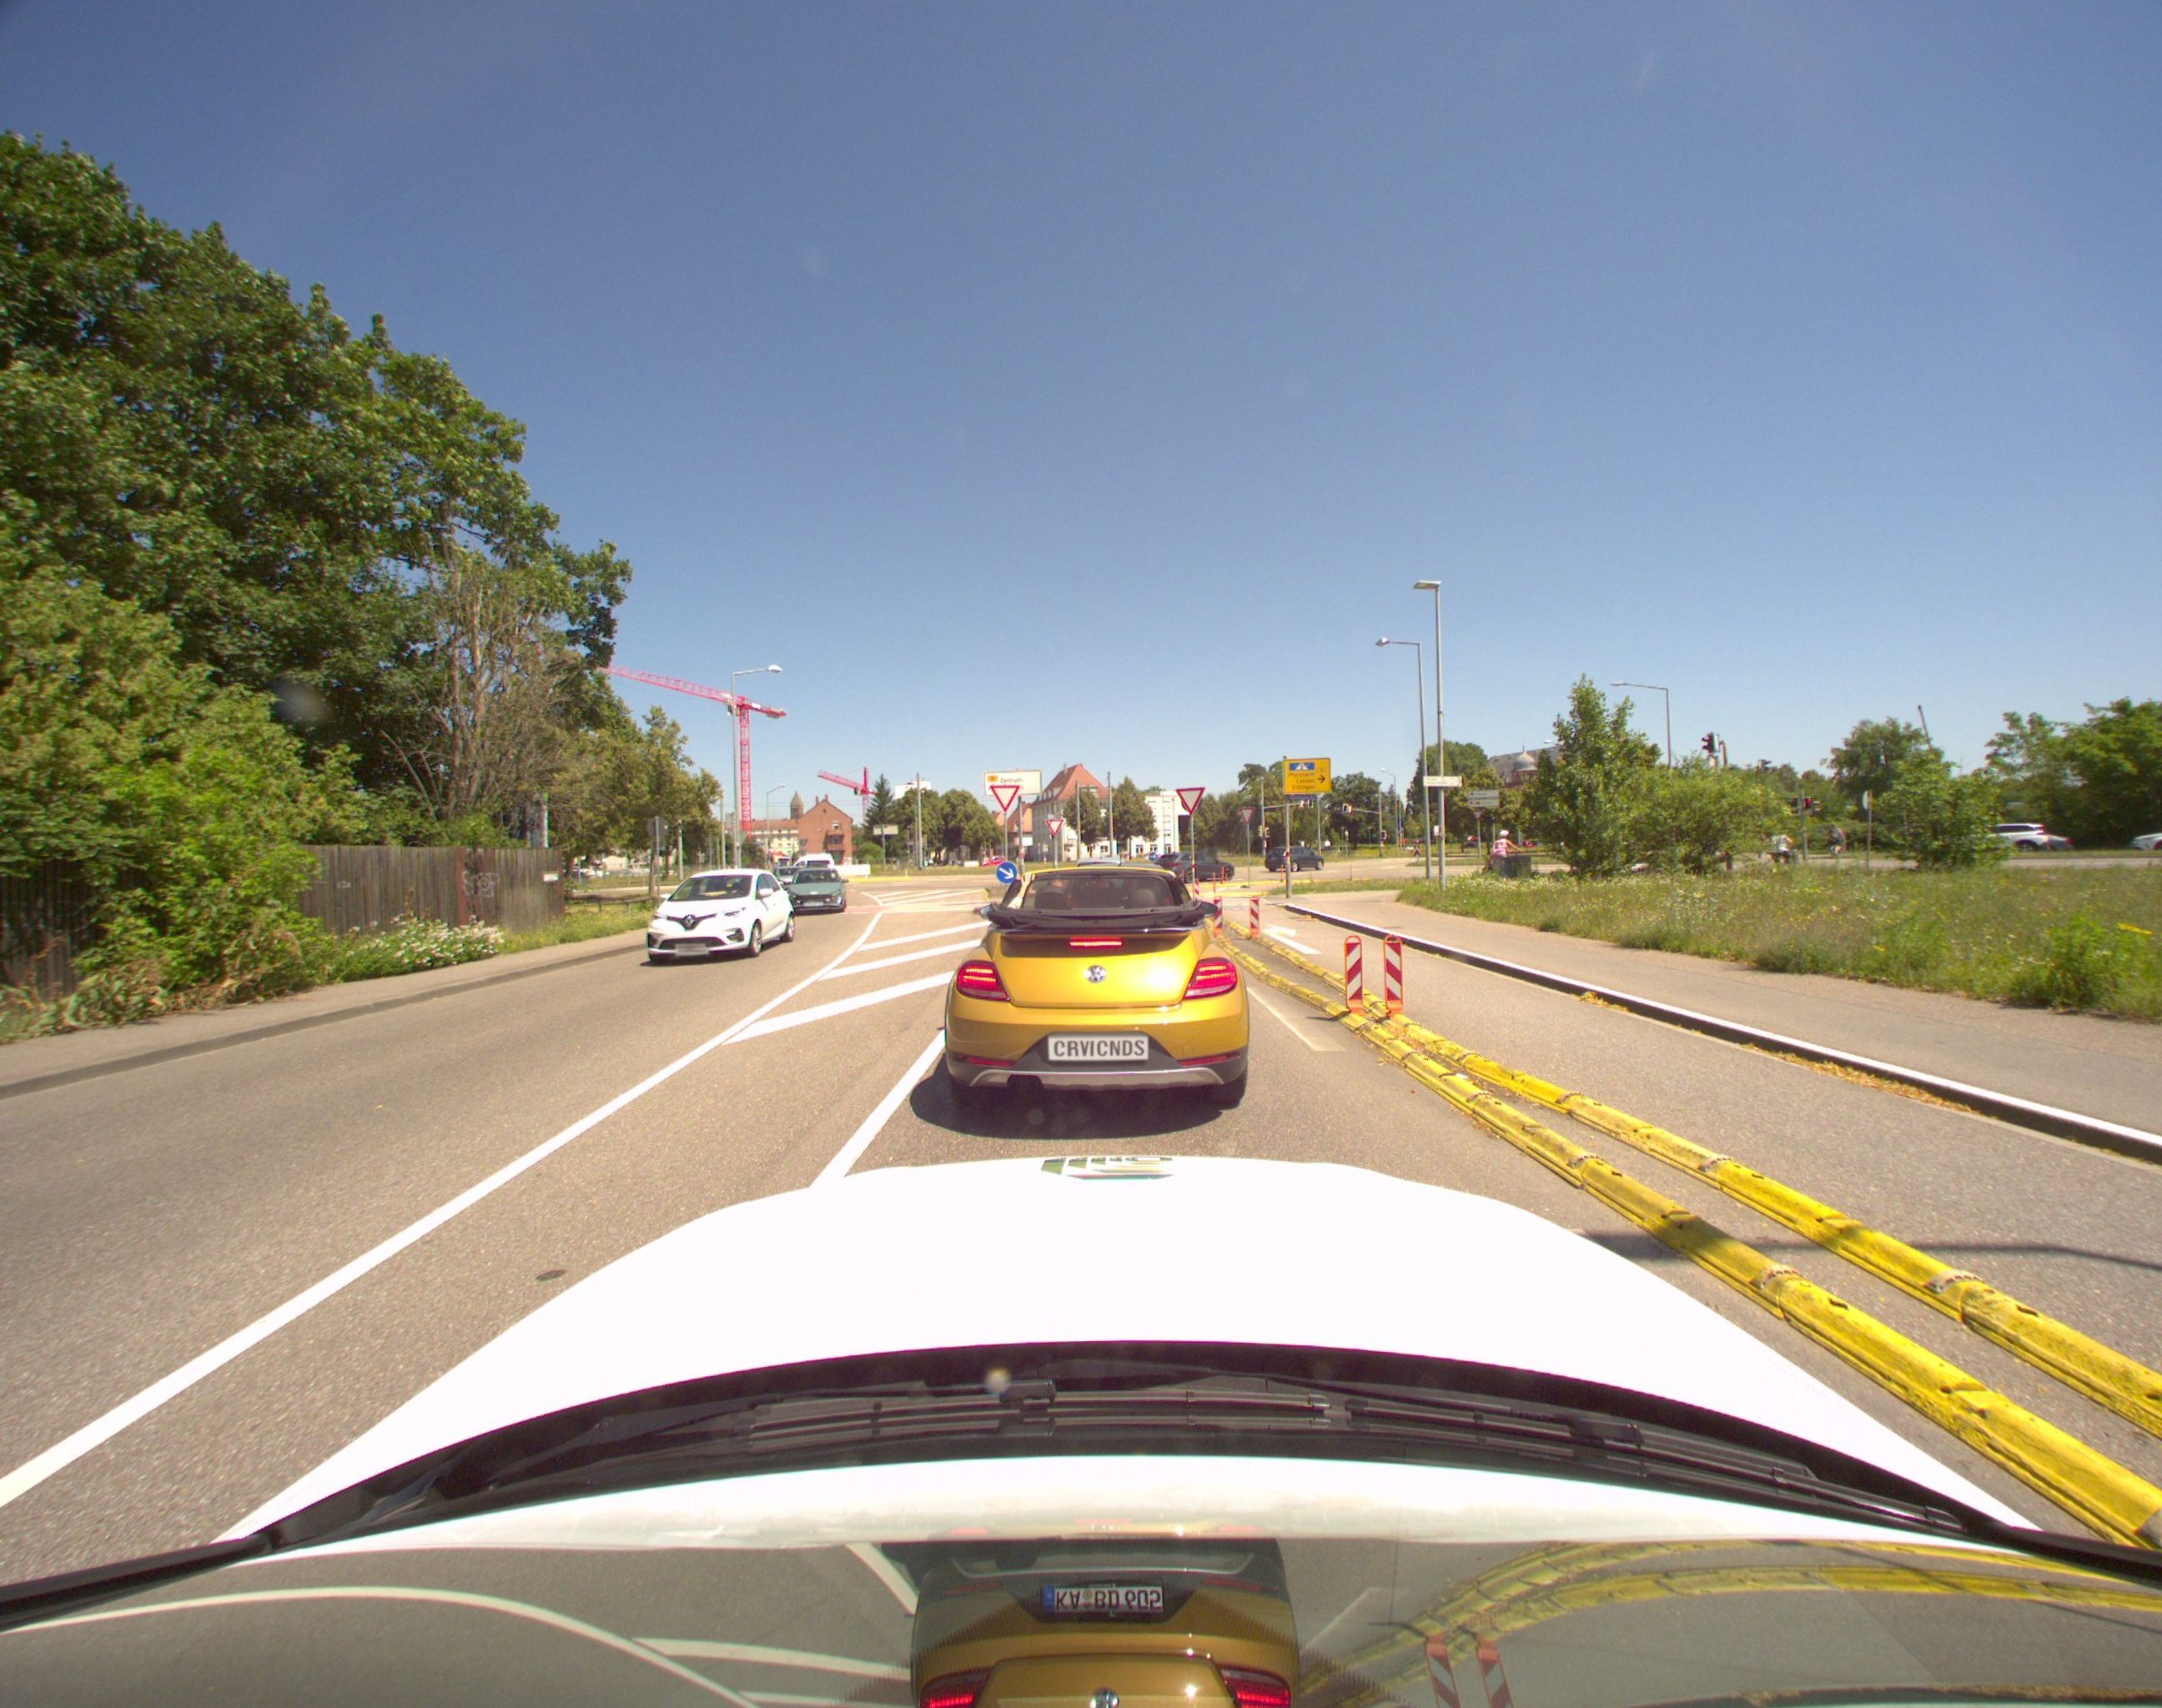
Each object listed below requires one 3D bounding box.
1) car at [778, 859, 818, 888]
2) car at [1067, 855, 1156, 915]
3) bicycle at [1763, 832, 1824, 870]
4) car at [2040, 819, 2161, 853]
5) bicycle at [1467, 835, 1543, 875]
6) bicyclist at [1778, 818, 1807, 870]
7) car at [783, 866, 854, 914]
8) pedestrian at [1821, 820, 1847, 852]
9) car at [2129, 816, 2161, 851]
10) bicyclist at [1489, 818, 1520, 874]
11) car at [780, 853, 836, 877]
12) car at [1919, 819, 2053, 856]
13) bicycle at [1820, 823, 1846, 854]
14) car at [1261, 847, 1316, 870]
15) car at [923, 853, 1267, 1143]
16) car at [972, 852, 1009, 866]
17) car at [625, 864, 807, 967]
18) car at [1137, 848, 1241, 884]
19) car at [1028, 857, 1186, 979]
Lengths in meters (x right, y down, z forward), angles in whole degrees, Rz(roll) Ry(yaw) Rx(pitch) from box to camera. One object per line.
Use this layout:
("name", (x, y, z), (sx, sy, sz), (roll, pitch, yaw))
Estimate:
("car", (-14.598, 0.988, 41.861), (1.734, 1.402, 4.239), (0, -1, -22))
("car", (0.705, 0.737, 20.936), (2.058, 1.382, 4.257), (0, -1, 0))
("bicycle", (25.888, -0.100, 29.574), (2.902, 1.353, 0.635), (0, -1, -28))
("car", (51.388, -0.848, 40.618), (4.389, 1.592, 1.860), (-1, -1, 43))
("bicycle", (13.699, 0.034, 26.330), (2.082, 1.221, 0.634), (-2, 0, 4))
("bicyclist", (25.786, -0.362, 29.516), (0.573, 1.841, 0.603), (0, -1, -29))
("car", (-8.448, 1.098, 26.504), (1.748, 1.371, 4.313), (0, -1, -12))
("pedestrian", (39.862, -0.931, 43.114), (0.959, 1.660, 0.892), (-1, -1, 44))
("car", (51.286, -0.941, 36.923), (4.389, 1.592, 1.860), (-1, -1, 43))
("bicyclist", (13.684, -0.265, 26.327), (0.667, 1.752, 0.593), (-3, 1, 3))
("car", (-28.645, 1.112, 85.586), (5.341, 2.397, 1.976), (0, -1, -28))
("car", (45.891, -0.773, 41.447), (4.389, 1.736, 1.860), (-1, -1, 43))
("bicycle", (39.855, -0.802, 43.145), (0.972, 1.597, 2.900), (-1, -1, 43))
("car", (11.864, 0.248, 46.500), (3.233, 1.259, 1.422), (0, -1, -39))
("car", (0.137, 0.759, 6.318), (1.758, 1.481, 4.259), (0, -1, 2))
("car", (-11.279, 0.646, 101.613), (4.349, 1.654, 1.887), (0, -1, -22))
("car", (-6.503, 1.010, 15.015), (1.772, 1.527, 3.867), (-2, 0, -4))
("car", (5.071, 0.527, 38.115), (4.561, 1.481, 2.050), (-2, 0, -34))
("car", (0.375, 0.769, 11.843), (1.844, 1.366, 4.260), (-2, 0, 2))
